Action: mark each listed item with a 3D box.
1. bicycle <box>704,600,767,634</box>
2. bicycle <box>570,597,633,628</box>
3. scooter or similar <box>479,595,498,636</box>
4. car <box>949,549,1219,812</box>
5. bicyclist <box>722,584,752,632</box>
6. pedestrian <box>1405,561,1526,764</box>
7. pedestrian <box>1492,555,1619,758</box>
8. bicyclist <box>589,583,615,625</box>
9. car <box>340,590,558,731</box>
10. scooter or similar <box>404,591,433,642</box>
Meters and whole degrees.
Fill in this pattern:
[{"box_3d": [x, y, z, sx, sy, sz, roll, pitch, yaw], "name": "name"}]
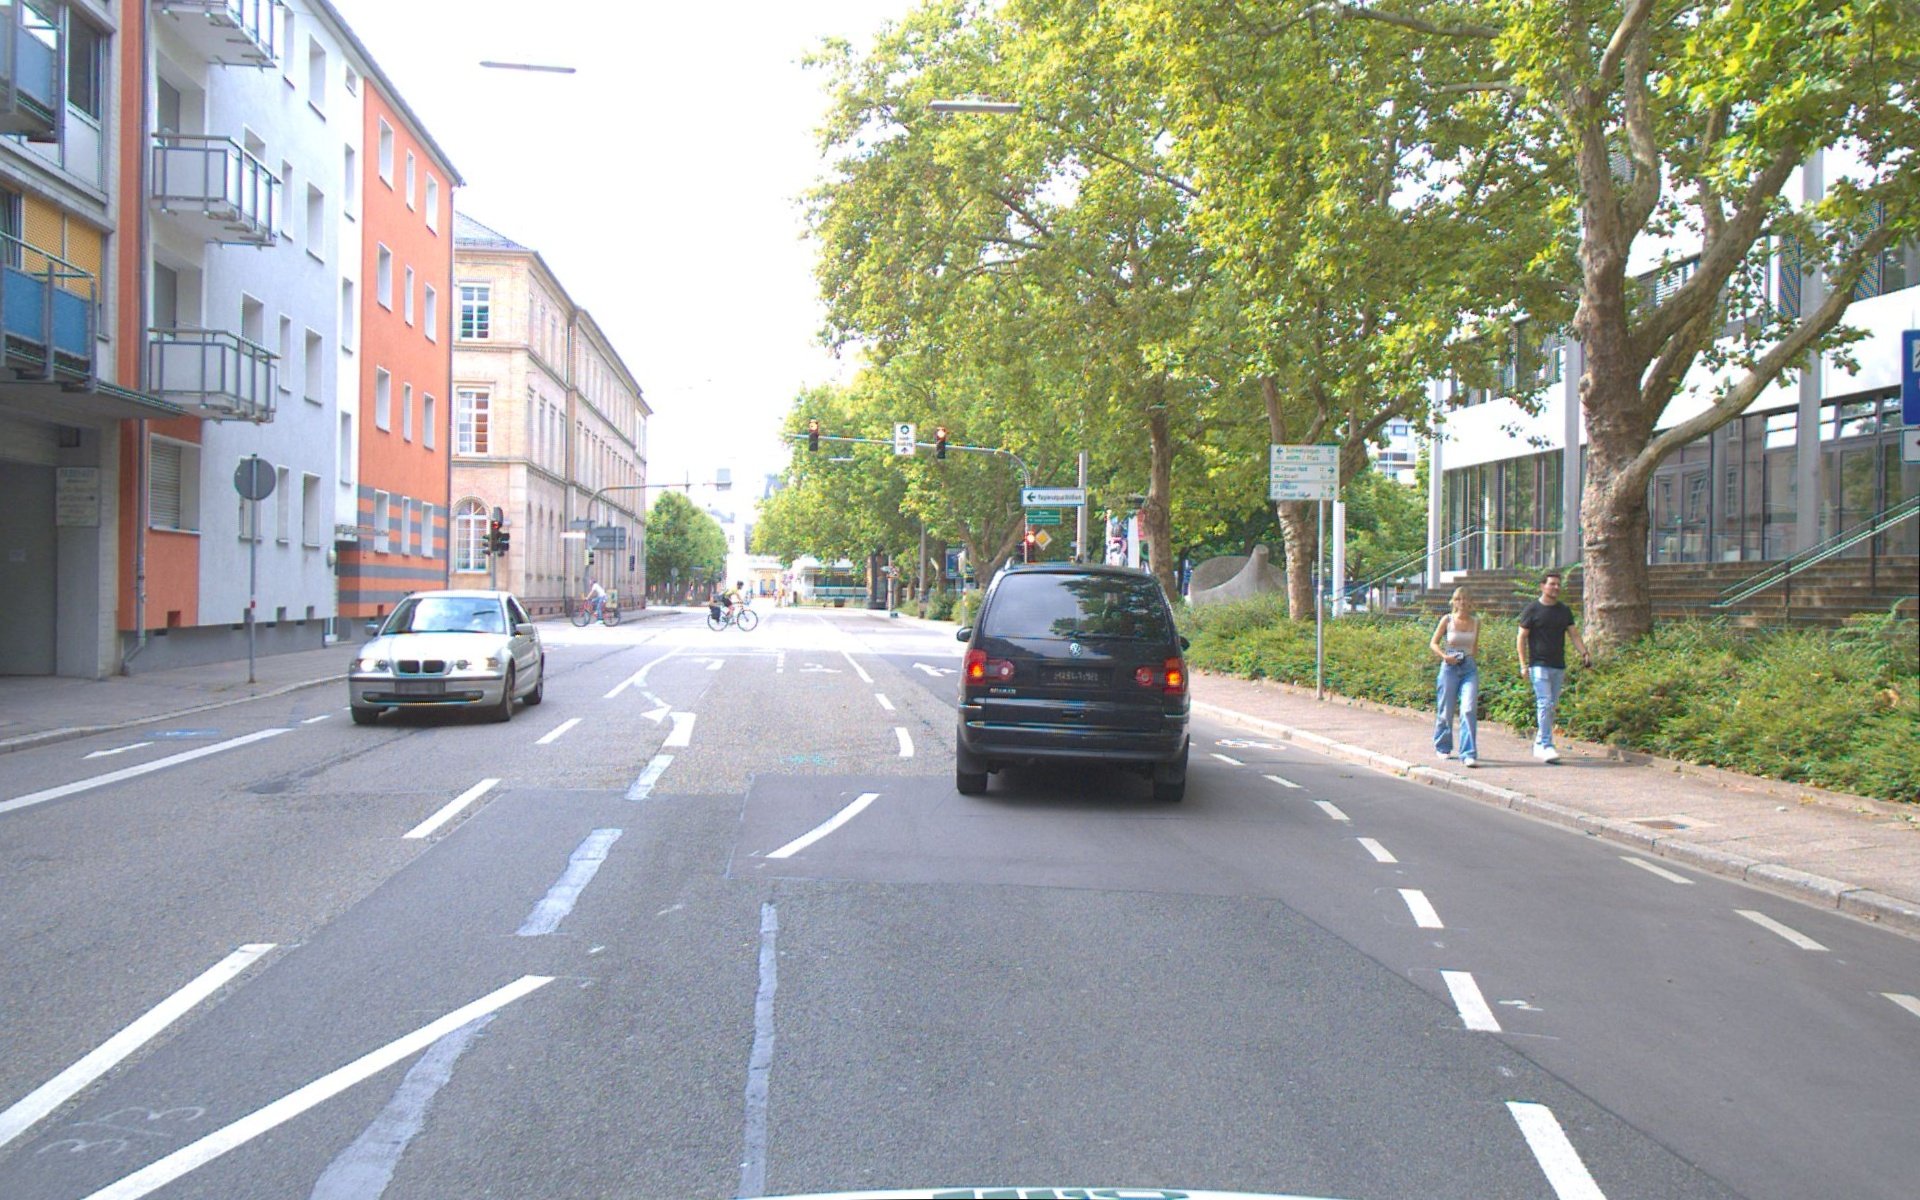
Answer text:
[{"box_3d": [-7.371, 0.556, 54.255, 1.985, 1.113, 0.625, 1, 0, -15], "name": "bicycle"}, {"box_3d": [-12.945, 0.454, 59.699, 2.194, 1.113, 0.626, 1, 0, -11], "name": "bicycle"}, {"box_3d": [-13.392, 0.451, 46.963, 0.371, 1.164, 1.139, 1, -1, -9], "name": "scooter or similar"}, {"box_3d": [1.040, 0.533, 13.697, 1.834, 1.775, 4.576, 1, 0, 5], "name": "car"}, {"box_3d": [-7.317, 0.264, 54.273, 0.899, 1.541, 0.624, 0, 0, -15], "name": "bicyclist"}, {"box_3d": [4.723, 0.565, 15.518, 0.697, 1.814, 1.032, -1, 0, -7], "name": "pedestrian"}, {"box_3d": [5.572, 0.510, 15.537, 0.701, 1.831, 1.032, -1, 0, -7], "name": "pedestrian"}, {"box_3d": [-12.915, 0.134, 59.697, 0.898, 1.519, 0.625, 0, 0, -10], "name": "bicyclist"}, {"box_3d": [-5.883, 0.620, 19.509, 1.724, 1.452, 4.093, -1, 0, -7], "name": "car"}, {"box_3d": [-13.175, 0.405, 40.268, 0.370, 1.204, 1.388, 1, -1, -6], "name": "scooter or similar"}]
